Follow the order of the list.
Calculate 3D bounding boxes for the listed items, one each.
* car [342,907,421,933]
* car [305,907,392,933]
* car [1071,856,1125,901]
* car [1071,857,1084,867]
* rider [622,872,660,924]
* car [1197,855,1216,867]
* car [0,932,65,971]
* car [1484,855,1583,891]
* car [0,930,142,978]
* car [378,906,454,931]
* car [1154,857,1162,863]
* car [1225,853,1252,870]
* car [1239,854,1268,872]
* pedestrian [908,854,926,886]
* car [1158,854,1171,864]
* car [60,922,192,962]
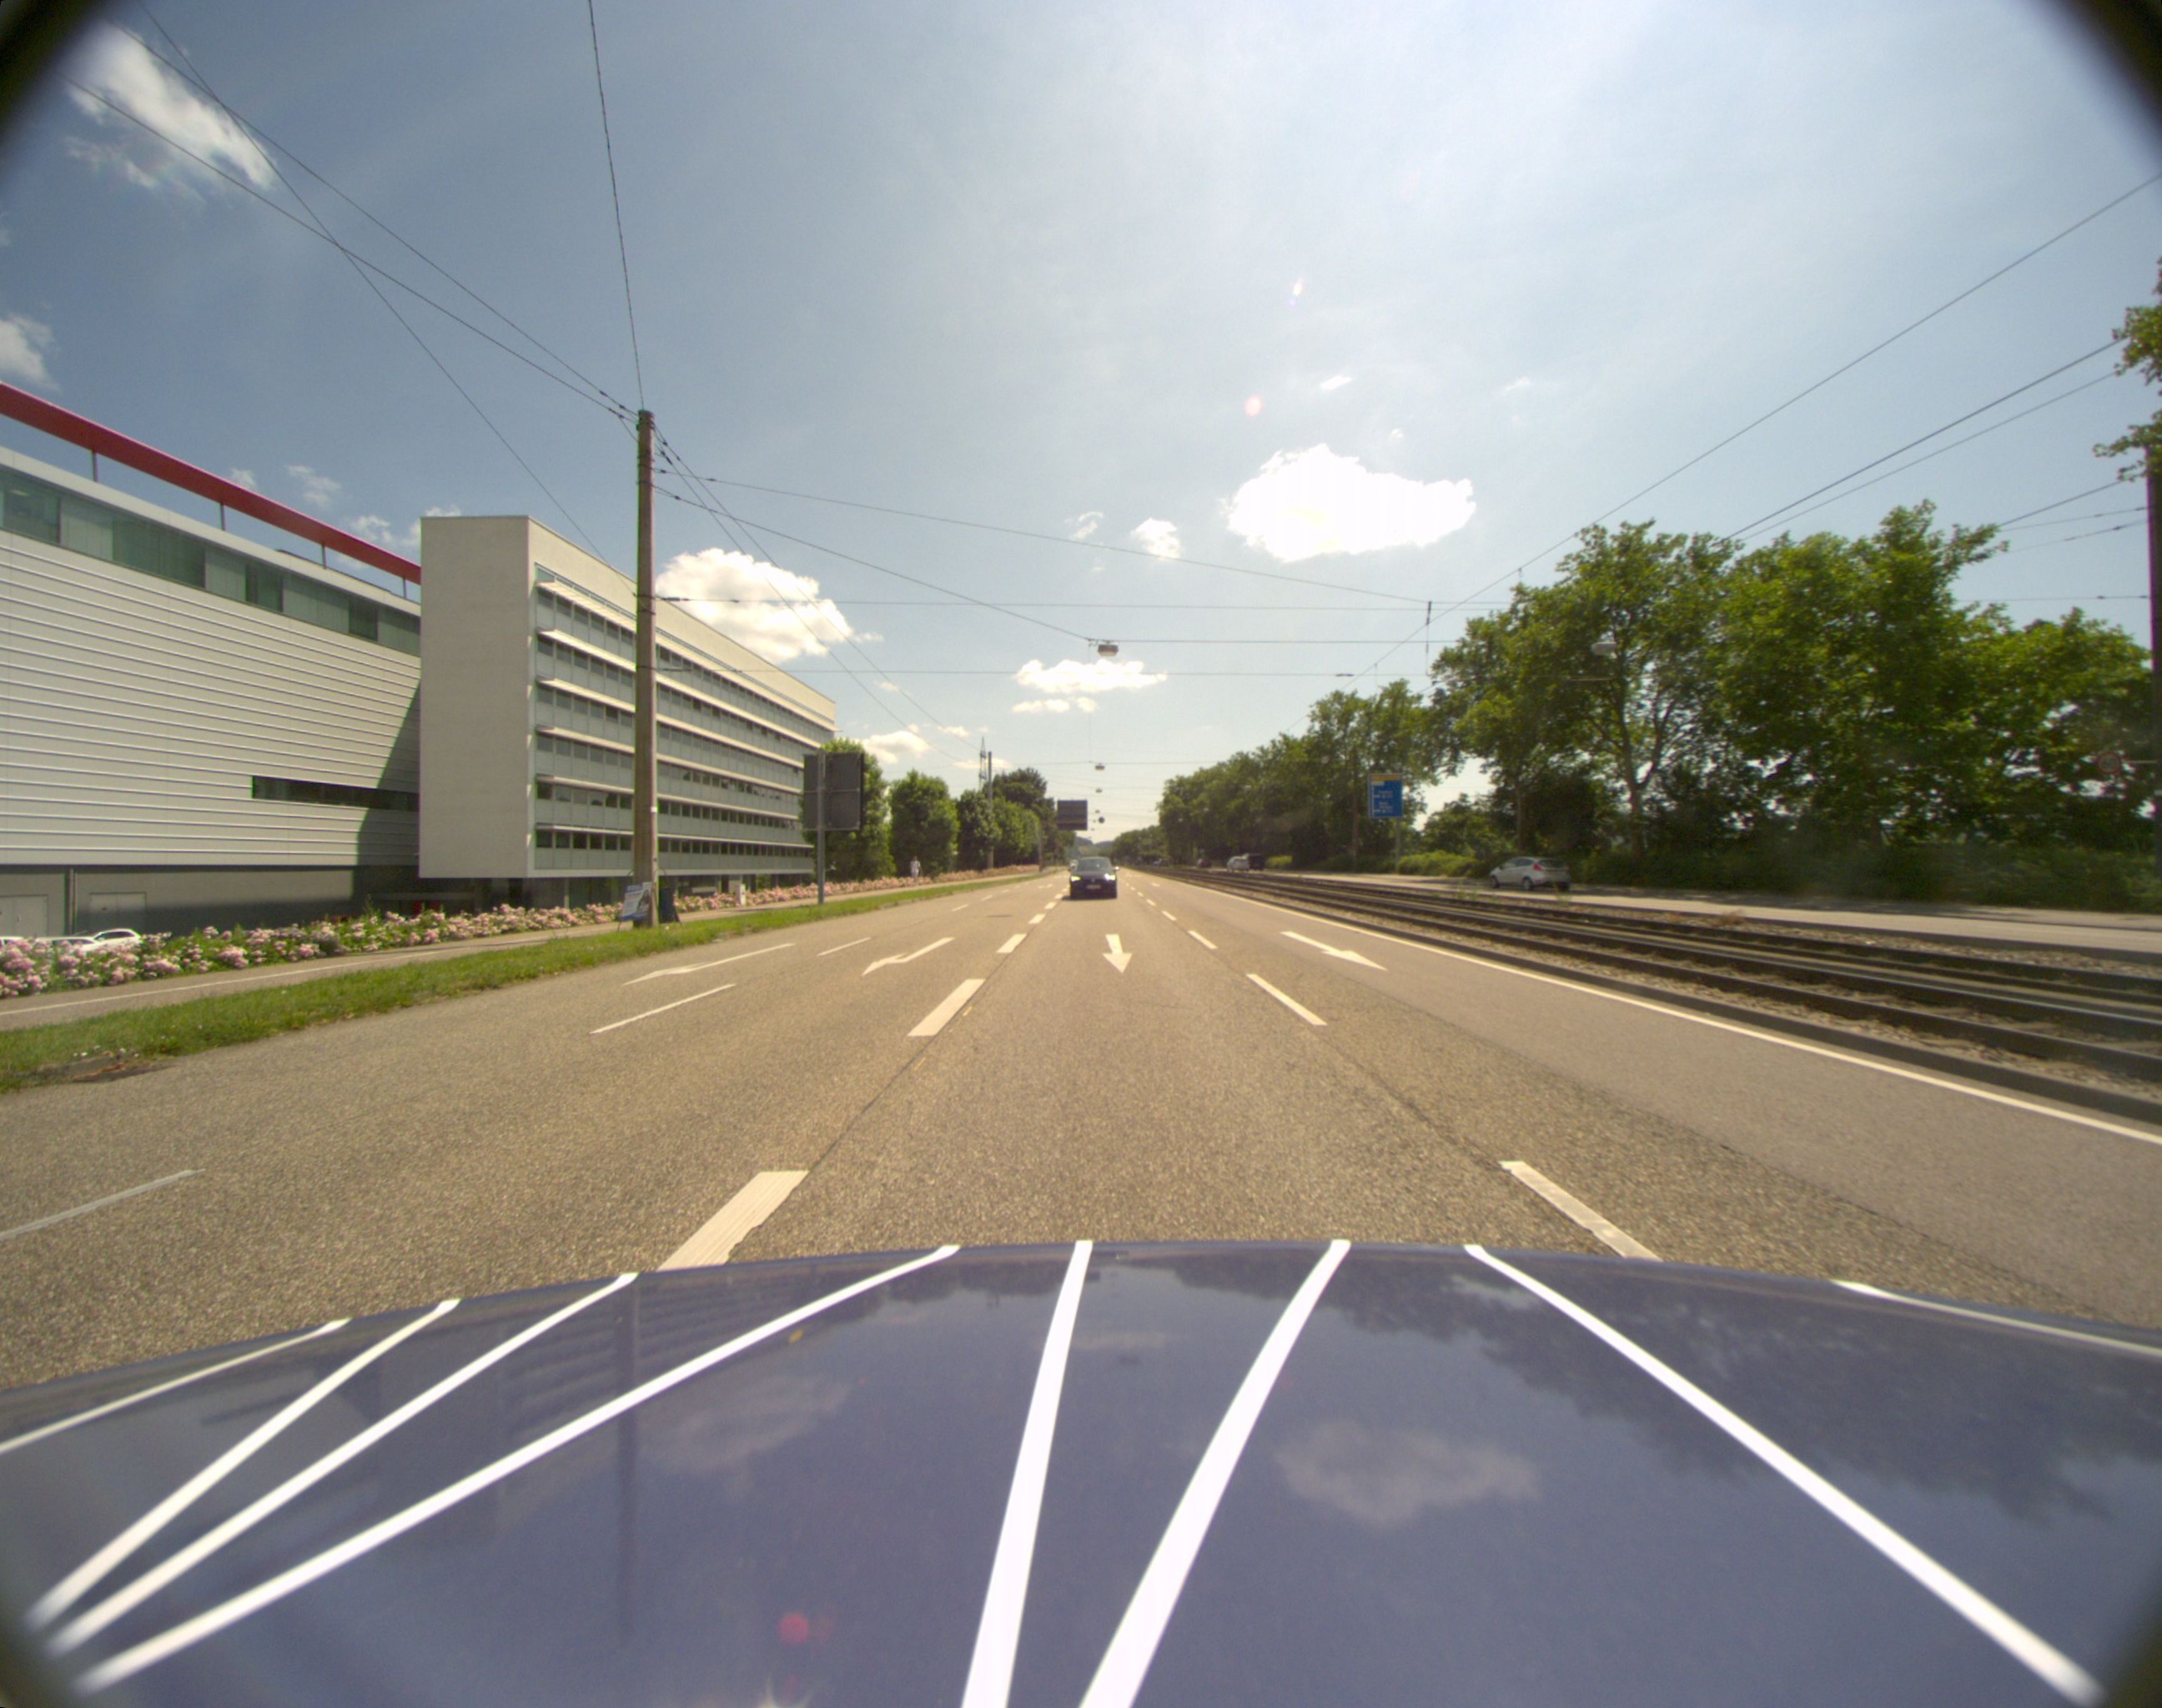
[{"bbox_3d":[-48.119,4.503,52.359,1.648,1.377,4.000,-2,0,1],"label":"car"},{"bbox_3d":[-50.446,4.523,52.442,1.998,1.438,4.000,-2,0,1],"label":"car"},{"bbox_3d":[0.640,0.886,29.716,1.898,1.564,4.511,-1,0,1],"label":"car"},{"bbox_3d":[-0.564,1.233,118.812,1.896,1.331,4.000,-2,0,1],"label":"car"},{"bbox_3d":[-12.761,1.259,22.048,0.671,1.449,0.618,-2,1,1],"label":"rider"},{"bbox_3d":[19.082,1.045,115.643,1.999,1.660,4.468,1,0,-1],"label":"car"},{"bbox_3d":[-51.316,4.696,35.600,1.998,1.602,4.000,-2,0,1],"label":"car"},{"bbox_3d":[19.271,0.778,32.542,1.827,1.407,3.883,1,0,-1],"label":"car"},{"bbox_3d":[-48.502,4.656,35.803,1.998,1.602,5.146,-2,0,1],"label":"car"},{"bbox_3d":[-45.348,4.348,51.922,1.609,1.314,4.000,-2,0,1],"label":"car"},{"bbox_3d":[21.481,1.657,212.151,1.803,1.495,4.735,1,0,-1],"label":"car"},{"bbox_3d":[15.382,0.735,74.533,1.690,1.574,4.058,2,0,-1],"label":"car"},{"bbox_3d":[18.659,0.923,82.422,1.999,1.820,4.969,1,0,-1],"label":"car"},{"bbox_3d":[-9.777,0.942,45.308,0.758,1.838,0.931,-2,1,3],"label":"pedestrian"},{"bbox_3d":[16.399,0.947,149.624,1.999,1.820,4.969,1,0,-1],"label":"car"},{"bbox_3d":[-51.256,4.675,40.921,1.998,1.602,4.000,-2,0,1],"label":"car"}]
